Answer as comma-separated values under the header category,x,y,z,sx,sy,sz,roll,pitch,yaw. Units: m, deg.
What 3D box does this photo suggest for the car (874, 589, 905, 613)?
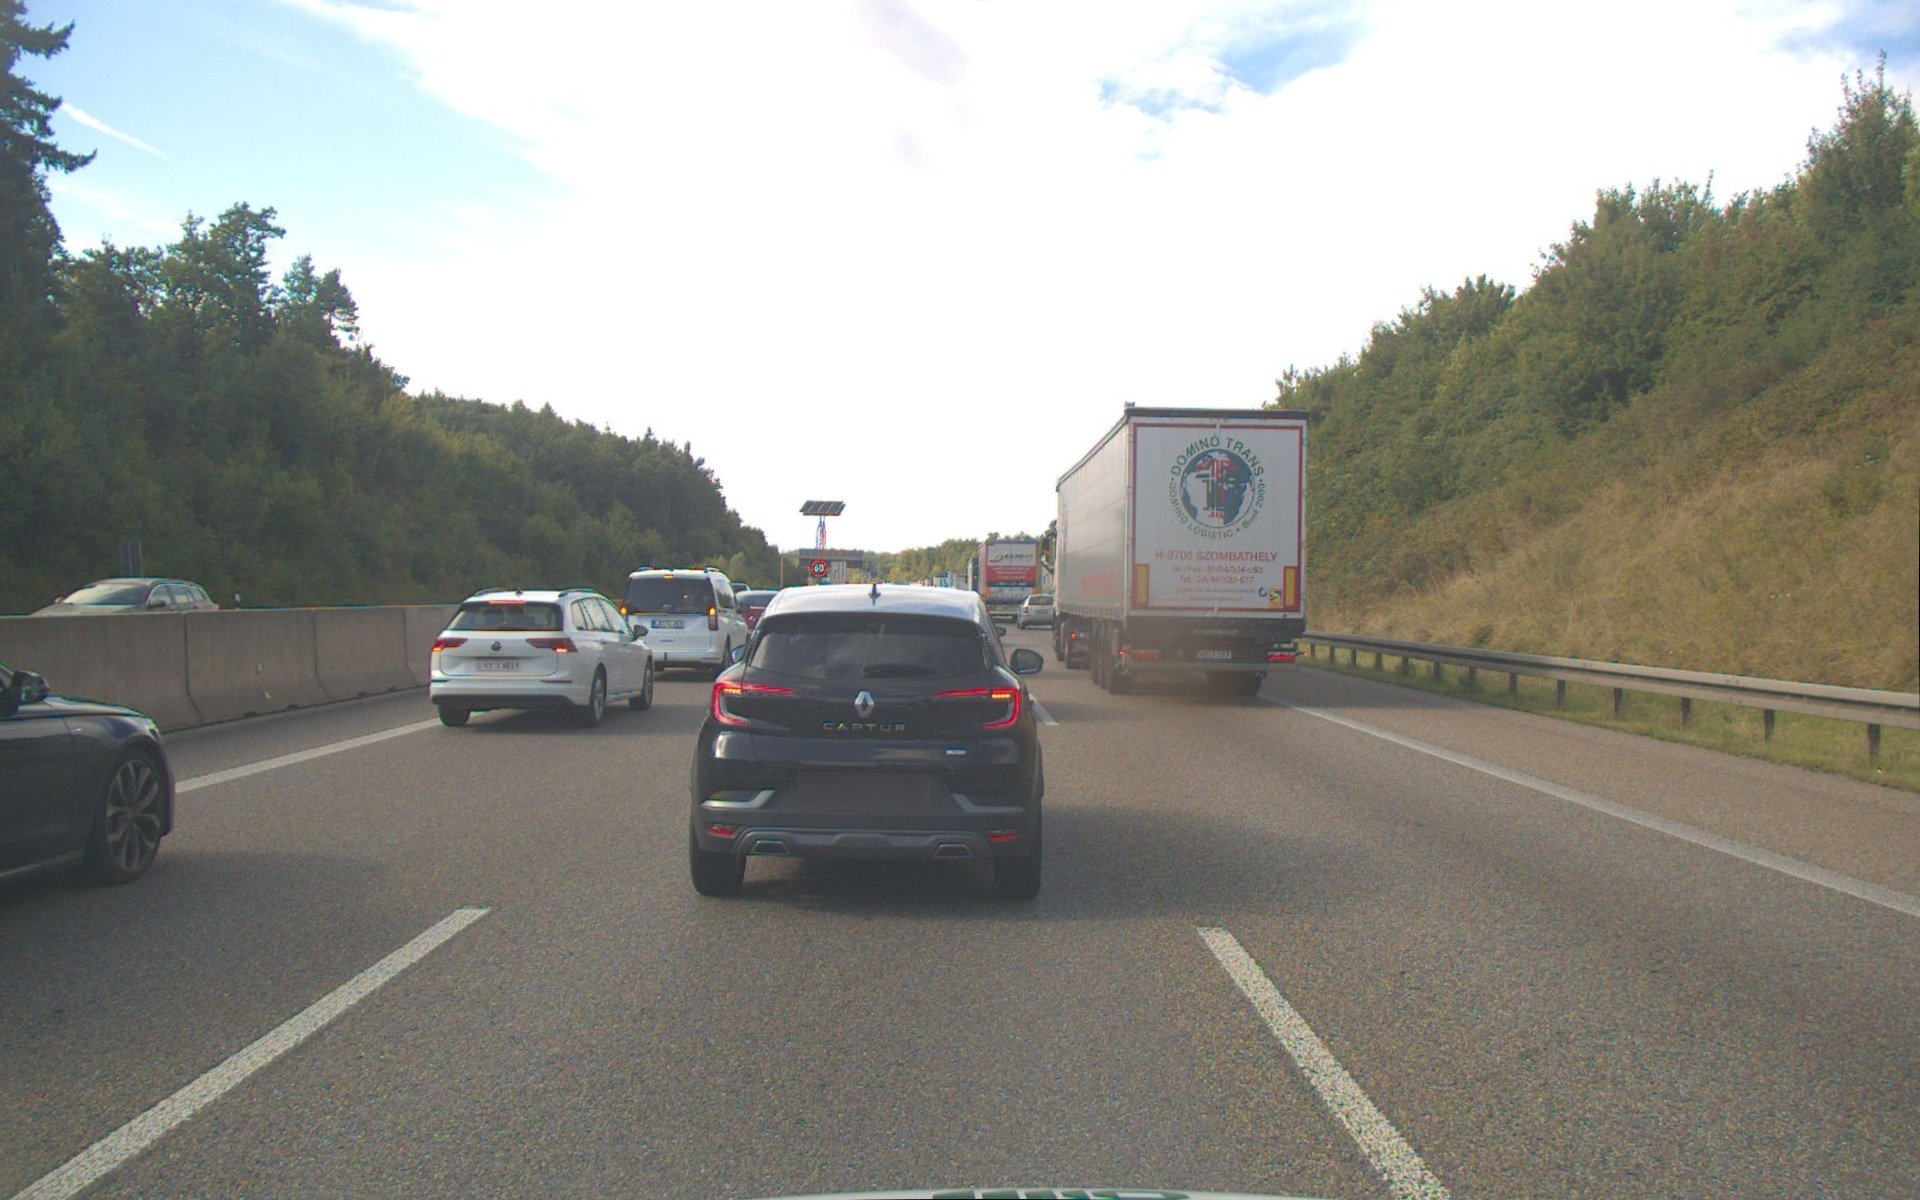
category,x,y,z,sx,sy,sz,roll,pitch,yaw
car,-4.881,0.069,114.507,1.953,1.641,4.000,1,0,0

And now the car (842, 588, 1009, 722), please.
category,x,y,z,sx,sy,sz,roll,pitch,yaw
car,-0.400,0.651,21.470,1.953,1.540,4.000,1,0,0

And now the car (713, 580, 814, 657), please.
category,x,y,z,sx,sy,sz,roll,pitch,yaw
car,-4.525,0.419,38.527,1.817,1.669,3.926,1,0,1

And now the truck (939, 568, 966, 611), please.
category,x,y,z,sx,sy,sz,roll,pitch,yaw
truck,-0.902,-1.289,210.443,3.101,5.249,12.737,1,0,0

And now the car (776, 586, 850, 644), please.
category,x,y,z,sx,sy,sz,roll,pitch,yaw
car,-4.658,0.471,52.919,1.953,1.752,4.000,1,0,0

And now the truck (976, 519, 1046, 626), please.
category,x,y,z,sx,sy,sz,roll,pitch,yaw
truck,2.541,-1.319,86.518,3.296,5.132,12.737,1,0,0

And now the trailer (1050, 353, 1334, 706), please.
category,x,y,z,sx,sy,sz,roll,pitch,yaw
trailer,3.506,-0.999,29.070,2.941,4.742,13.288,1,0,-1

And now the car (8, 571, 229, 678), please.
category,x,y,z,sx,sy,sz,roll,pitch,yaw
car,-15.711,0.419,31.180,1.814,1.841,4.624,1,0,-1

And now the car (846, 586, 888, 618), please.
category,x,y,z,sx,sy,sz,roll,pitch,yaw
car,-4.876,0.085,87.232,1.953,1.641,4.000,1,0,0

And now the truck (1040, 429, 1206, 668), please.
category,x,y,z,sx,sy,sz,roll,pitch,yaw
truck,3.421,-1.049,36.136,2.936,4.749,5.938,1,0,-1

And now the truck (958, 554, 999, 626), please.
category,x,y,z,sx,sy,sz,roll,pitch,yaw
truck,1.461,-0.763,135.434,3.101,5.601,12.737,1,0,0

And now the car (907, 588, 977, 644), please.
category,x,y,z,sx,sy,sz,roll,pitch,yaw
car,-0.497,0.443,48.419,1.953,1.540,4.000,1,0,0

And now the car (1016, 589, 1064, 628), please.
category,x,y,z,sx,sy,sz,roll,pitch,yaw
car,3.347,0.364,69.760,1.768,1.559,3.924,1,0,-1

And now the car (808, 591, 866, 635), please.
category,x,y,z,sx,sy,sz,roll,pitch,yaw
car,-4.800,0.510,65.076,1.953,1.641,4.000,1,0,0

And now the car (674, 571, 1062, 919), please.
category,x,y,z,sx,sy,sz,roll,pitch,yaw
car,-0.354,0.659,9.576,1.767,1.579,4.001,0,0,2

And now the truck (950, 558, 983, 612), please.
category,x,y,z,sx,sy,sz,roll,pitch,yaw
truck,0.798,-1.525,177.635,3.101,5.601,12.740,1,0,2

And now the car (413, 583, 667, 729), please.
category,x,y,z,sx,sy,sz,roll,pitch,yaw
car,-4.690,0.579,19.103,1.767,1.486,4.309,1,0,1

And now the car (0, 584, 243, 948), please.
category,x,y,z,sx,sy,sz,roll,pitch,yaw
car,-4.832,0.675,6.650,1.805,1.481,4.748,1,0,0

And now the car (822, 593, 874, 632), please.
category,x,y,z,sx,sy,sz,roll,pitch,yaw
car,-4.876,0.534,72.610,1.953,1.641,4.000,1,0,0

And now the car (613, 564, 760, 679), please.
category,x,y,z,sx,sy,sz,roll,pitch,yaw
car,-4.657,0.356,28.762,1.873,1.821,4.416,1,0,-1

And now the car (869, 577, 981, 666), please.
category,x,y,z,sx,sy,sz,roll,pitch,yaw
car,-0.619,0.383,31.313,1.953,1.540,4.000,1,0,0
